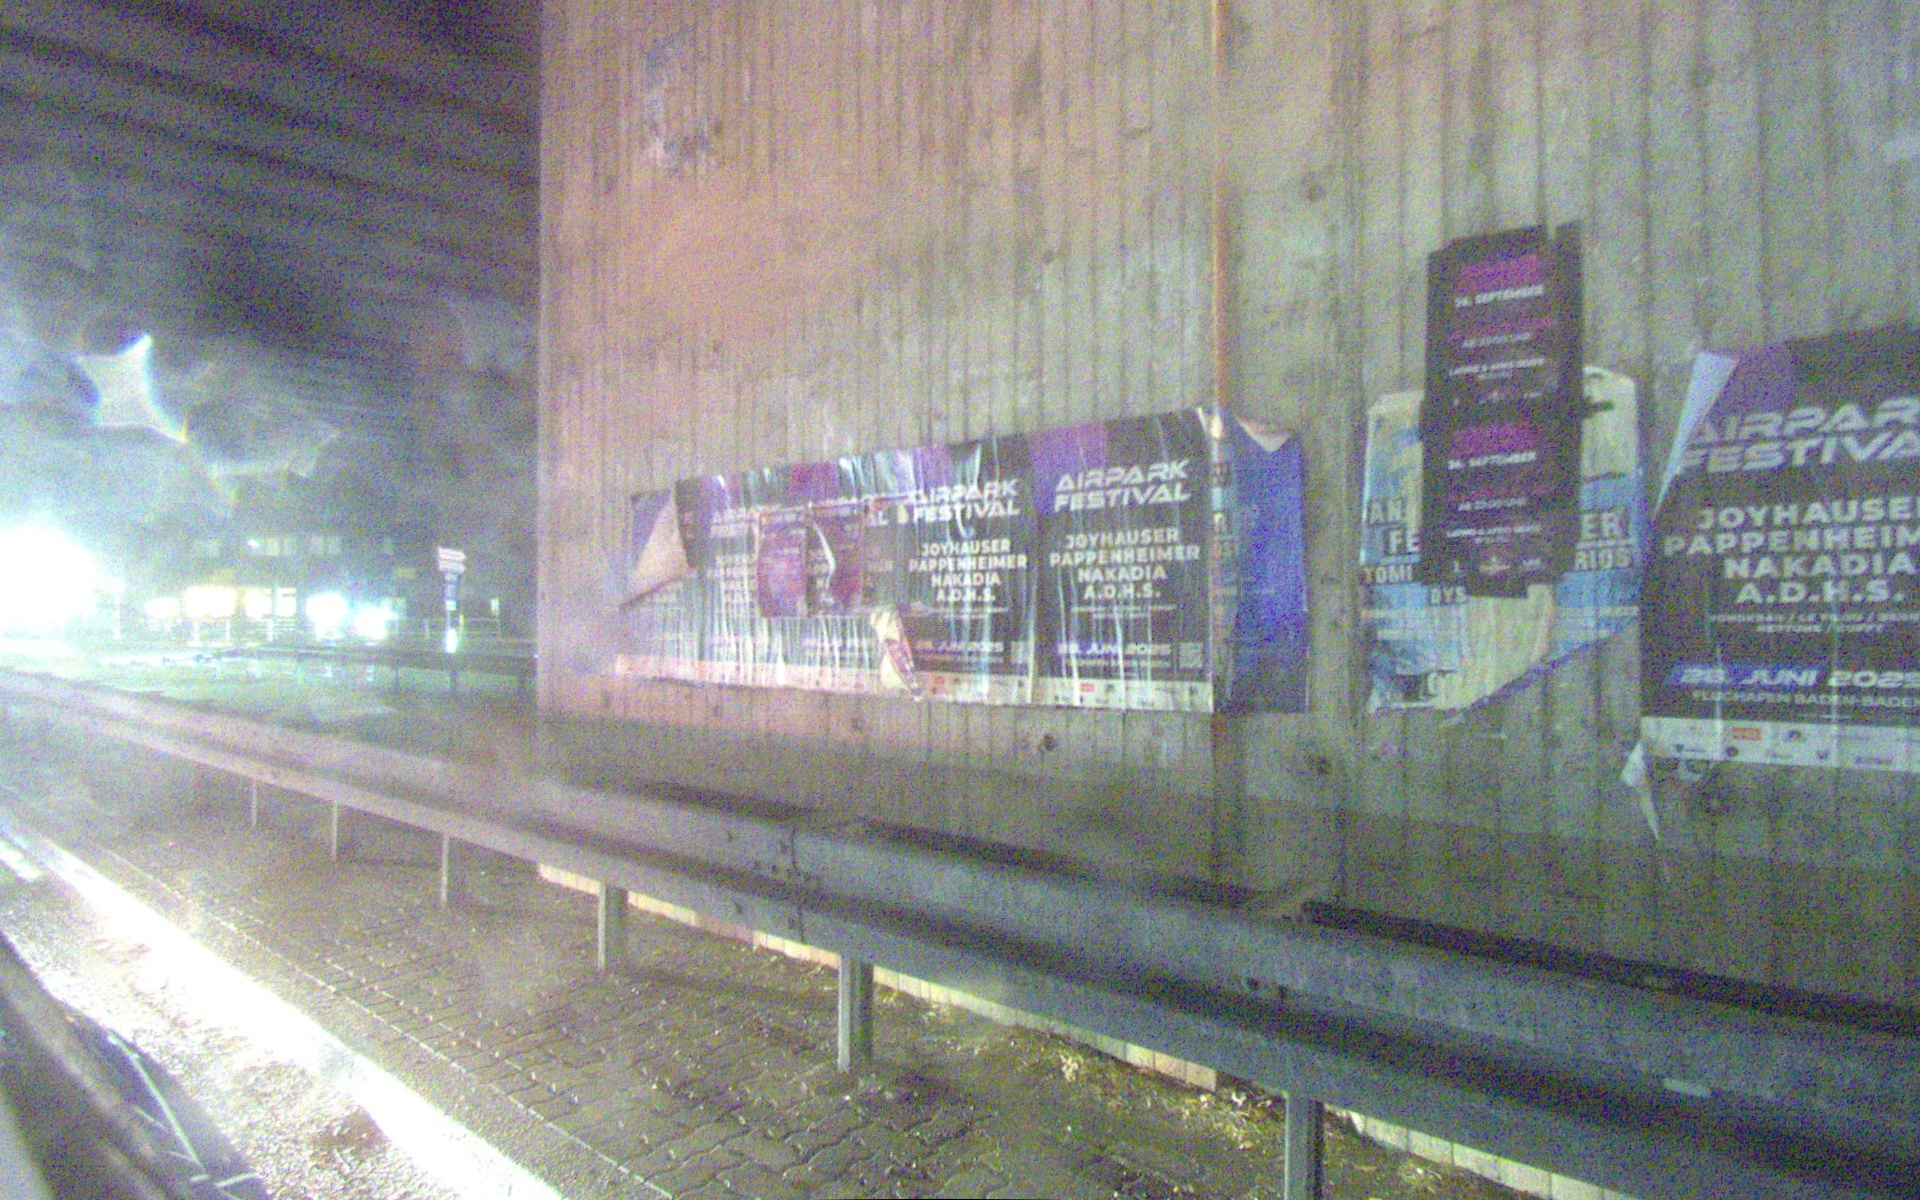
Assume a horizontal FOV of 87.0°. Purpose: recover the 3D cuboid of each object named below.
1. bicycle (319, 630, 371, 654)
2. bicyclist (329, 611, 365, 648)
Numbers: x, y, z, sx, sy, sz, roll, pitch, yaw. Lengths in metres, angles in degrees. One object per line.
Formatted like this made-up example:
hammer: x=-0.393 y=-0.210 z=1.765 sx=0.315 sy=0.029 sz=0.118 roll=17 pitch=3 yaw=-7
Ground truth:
bicycle: x=-24.361 y=1.642 z=40.095 sx=2.200 sy=0.912 sz=0.623 roll=0 pitch=-2 yaw=24
bicyclist: x=-24.248 y=1.171 z=40.051 sx=1.181 sy=1.446 sz=0.624 roll=0 pitch=-2 yaw=24
